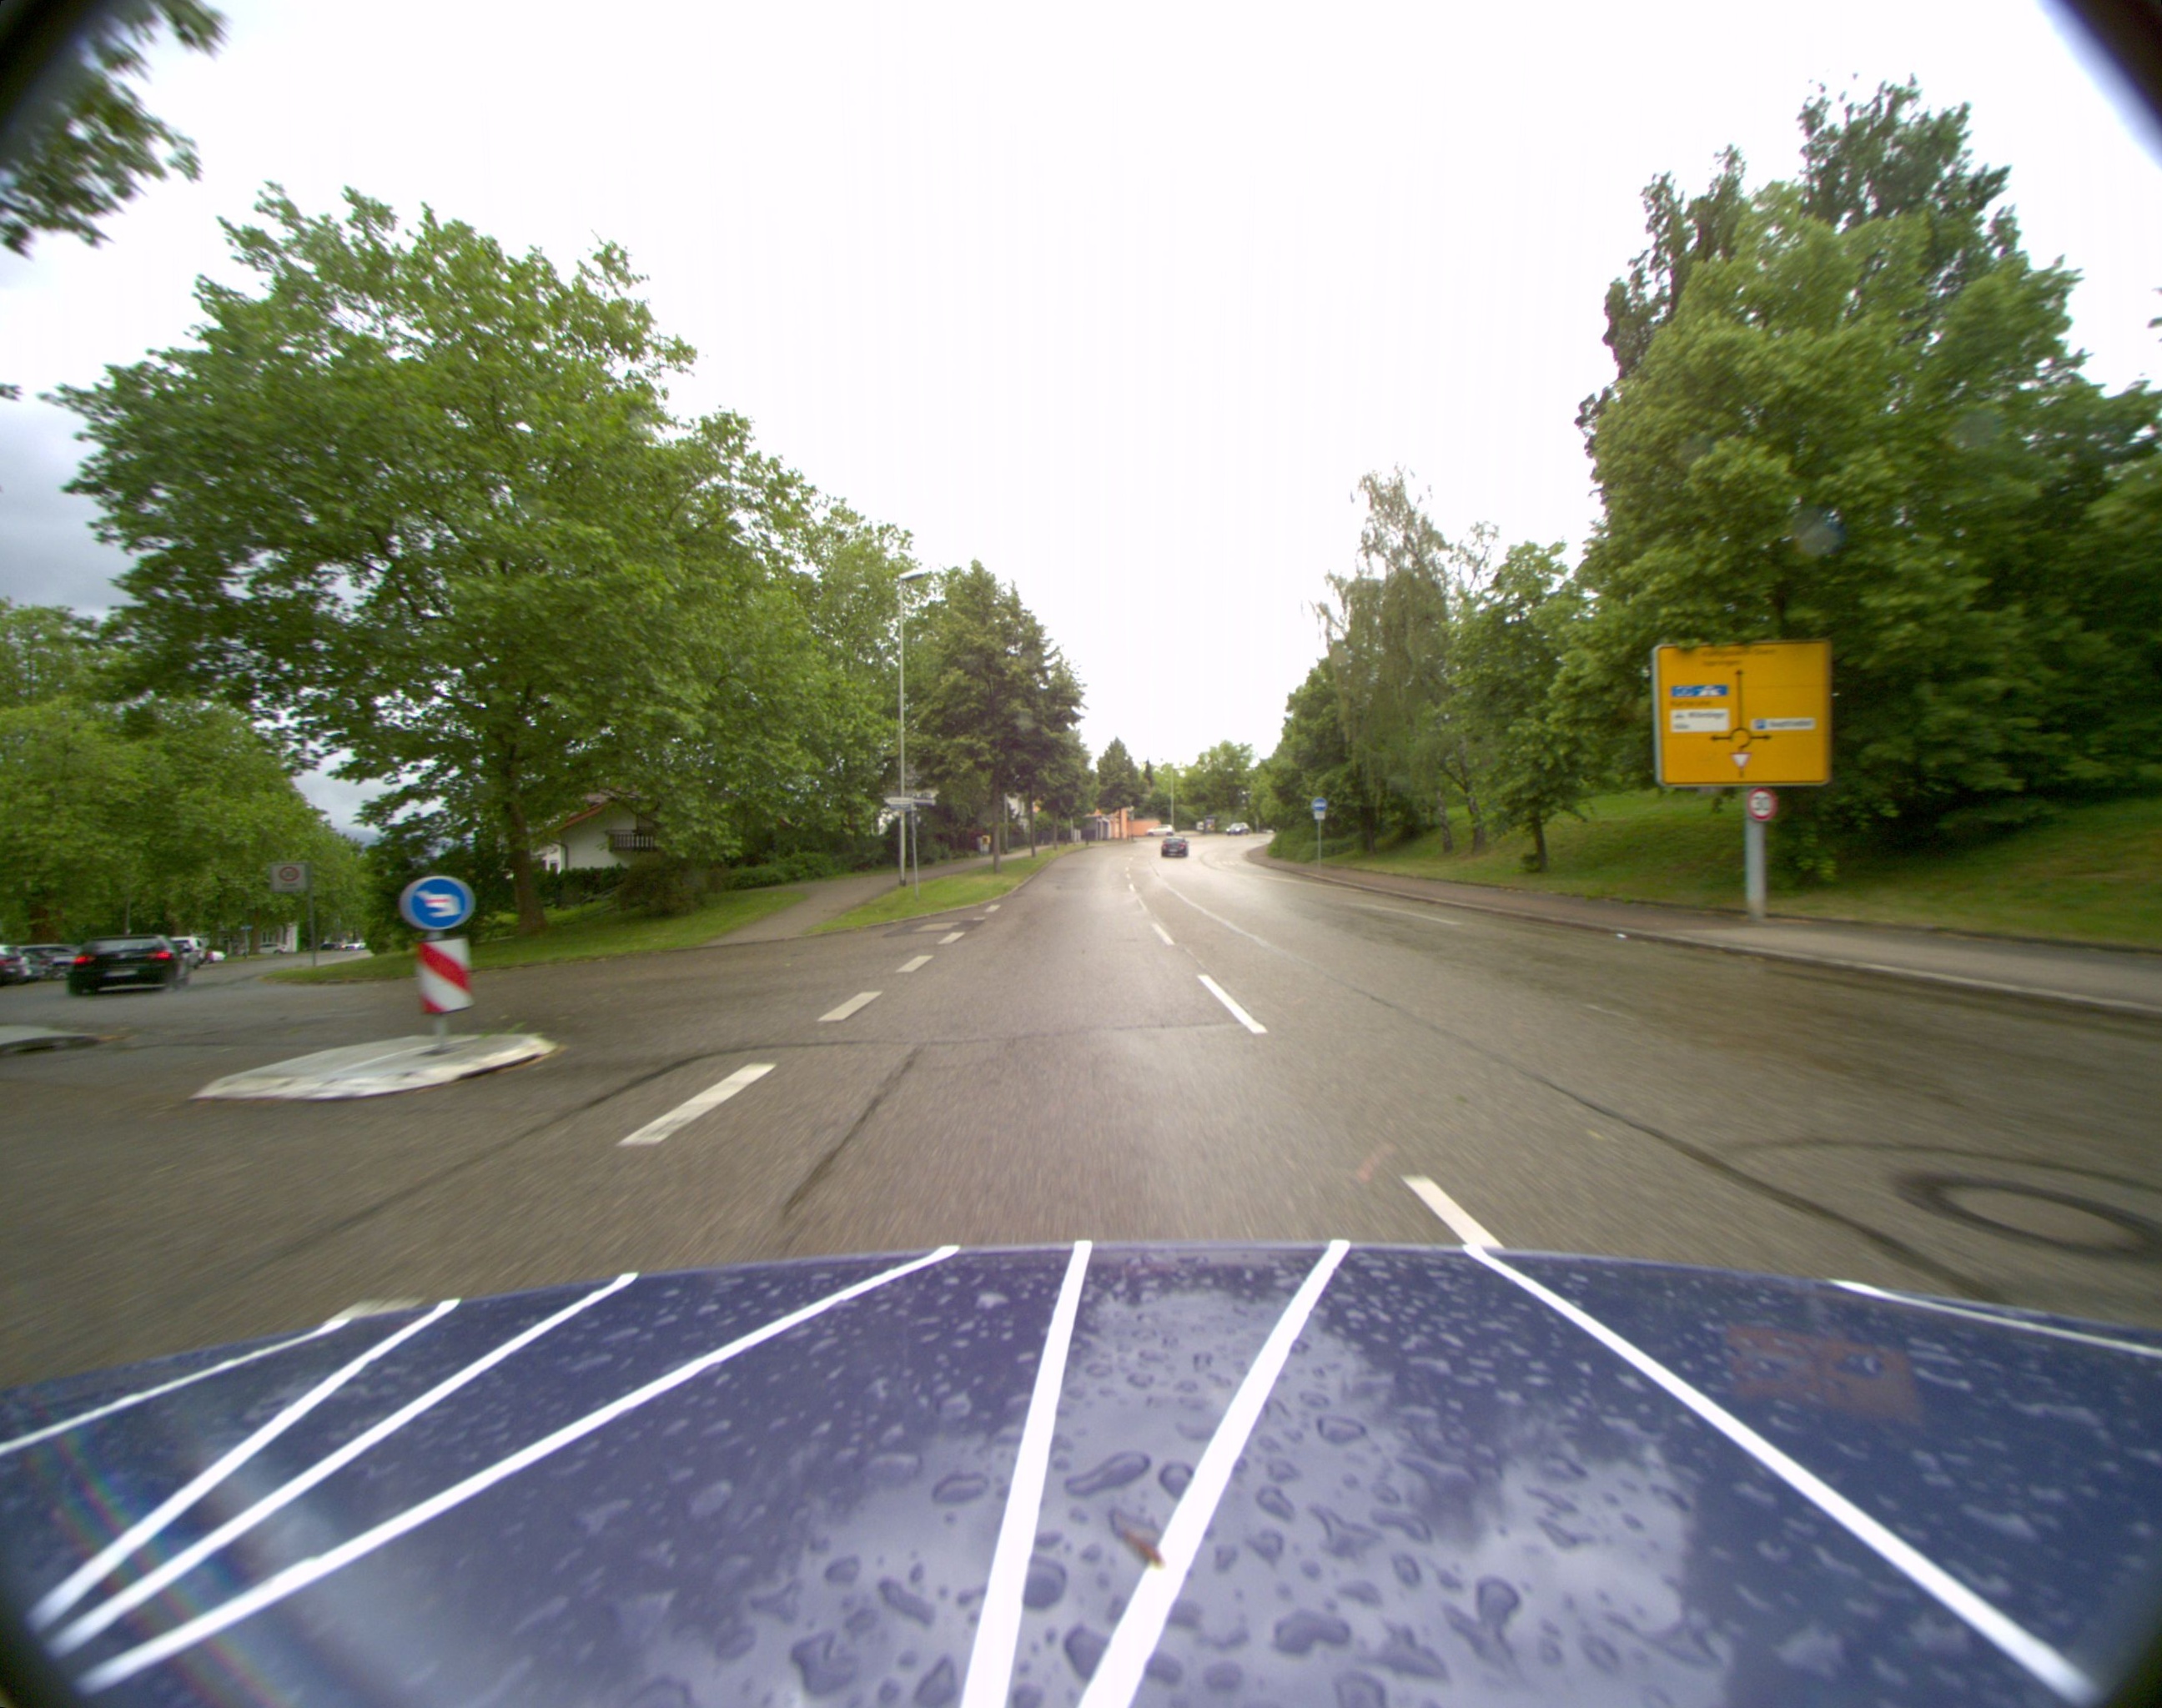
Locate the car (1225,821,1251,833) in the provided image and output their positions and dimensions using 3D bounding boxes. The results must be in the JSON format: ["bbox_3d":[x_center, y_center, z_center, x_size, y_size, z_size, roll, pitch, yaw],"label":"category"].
[{"bbox_3d":[21.171,-3.648,102.459,1.858,1.406,4.394,-1,0,34],"label":"car"}]

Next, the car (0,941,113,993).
[{"bbox_3d":[-47.108,5.107,33.940,4.312,1.829,2.351,-3,1,-41],"label":"car"}]

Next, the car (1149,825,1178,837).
[{"bbox_3d":[11.559,-3.207,106.911,3.863,1.557,1.728,1,2,13],"label":"car"}]

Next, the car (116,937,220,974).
[{"bbox_3d":[-63.721,7.039,53.152,4.312,1.829,2.159,-3,1,-41],"label":"car"}]

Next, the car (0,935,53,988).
[{"bbox_3d":[-42.108,4.067,28.186,4.314,1.828,2.082,3,-3,-41],"label":"car"}]

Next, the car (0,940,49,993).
[{"bbox_3d":[-39.986,3.999,26.307,2.352,1.827,4.722,-7,-7,44],"label":"car"}]

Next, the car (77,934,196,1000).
[{"bbox_3d":[-24.917,2.910,20.163,3.990,1.454,1.731,-5,-4,42],"label":"car"}]

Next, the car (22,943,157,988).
[{"bbox_3d":[-57.323,6.404,44.093,4.312,1.829,2.351,-3,1,-41],"label":"car"}]

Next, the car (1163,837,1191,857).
[{"bbox_3d":[6.986,-0.536,54.806,1.724,1.376,4.143,1,1,11],"label":"car"}]

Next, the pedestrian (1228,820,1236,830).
[{"bbox_3d":[23.369,-4.488,117.687,0.926,1.645,1.099,0,2,23],"label":"pedestrian"}]
